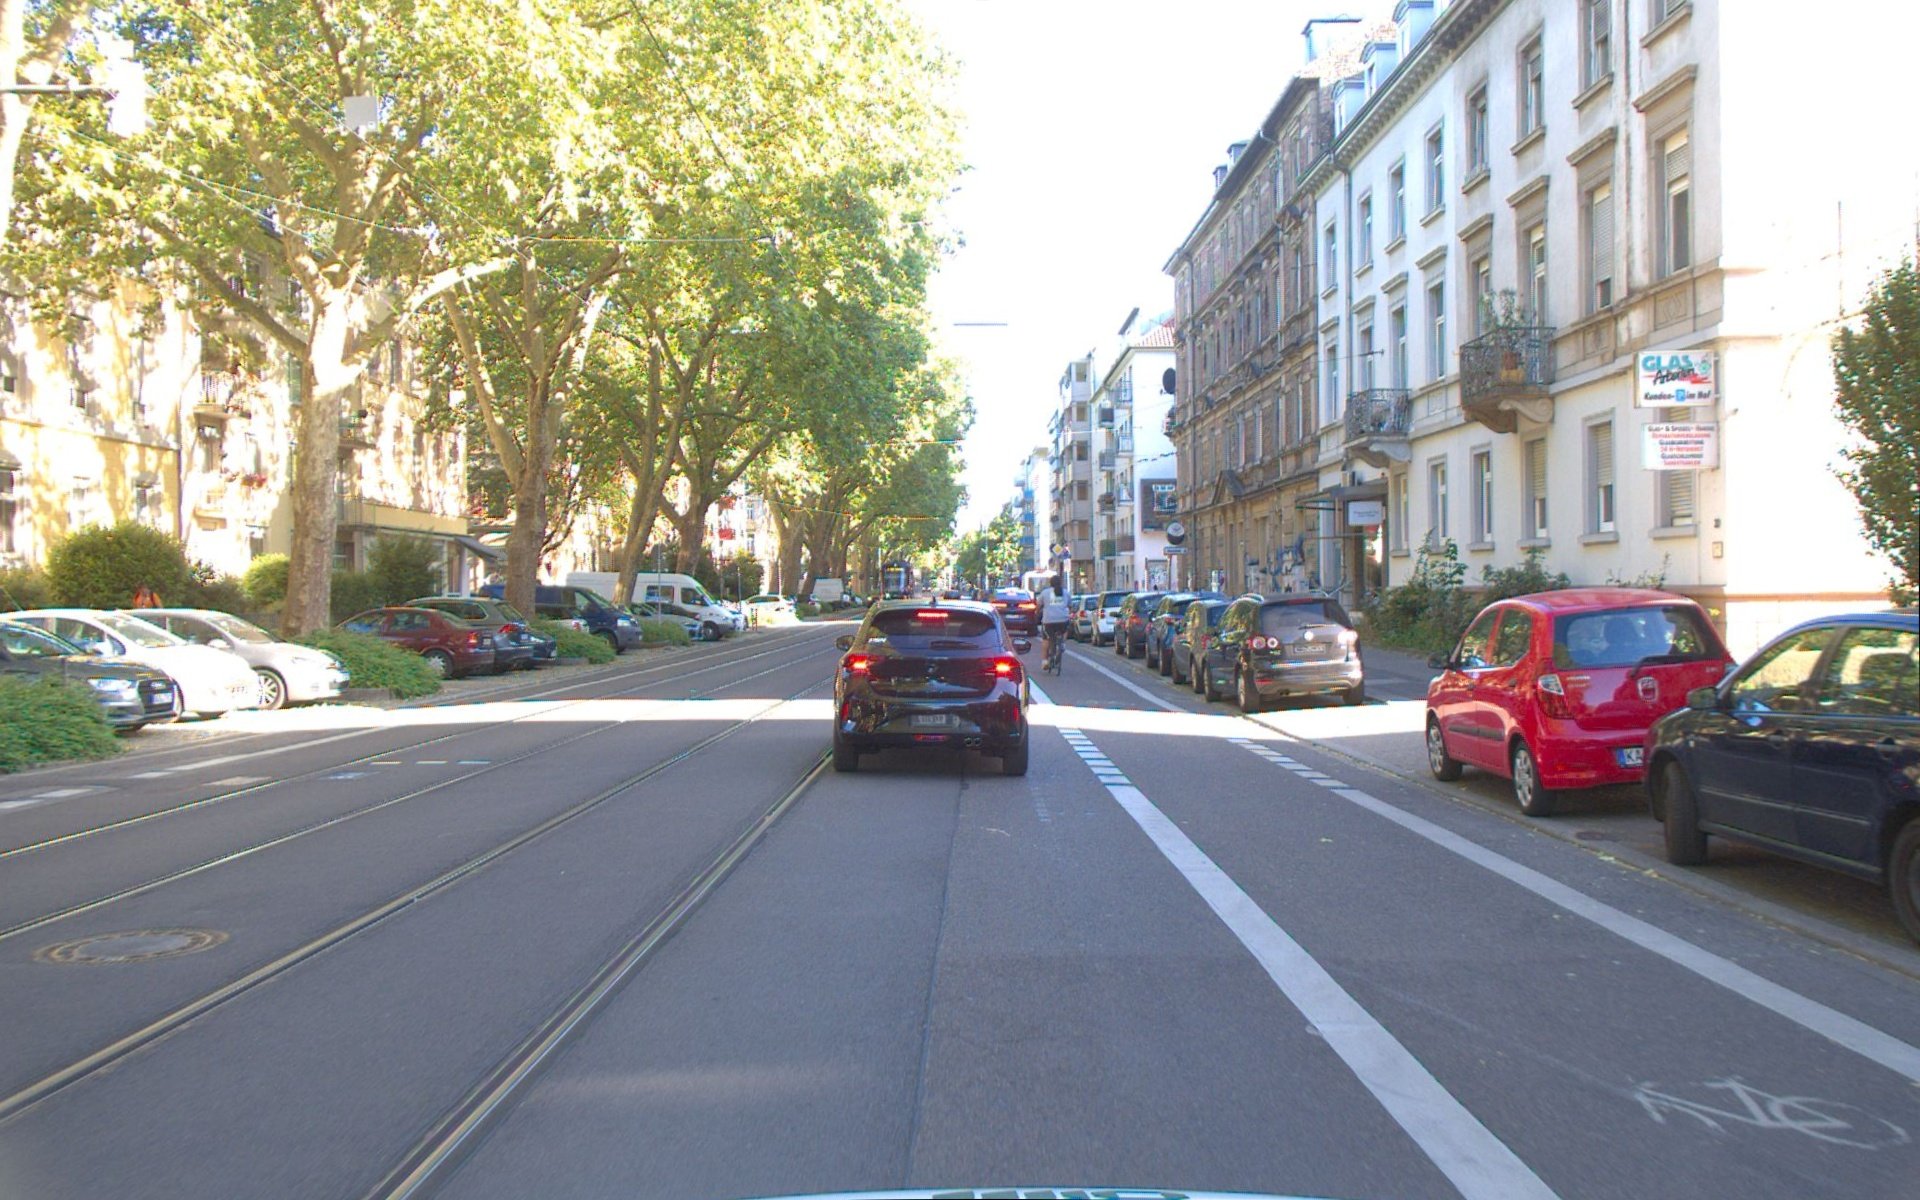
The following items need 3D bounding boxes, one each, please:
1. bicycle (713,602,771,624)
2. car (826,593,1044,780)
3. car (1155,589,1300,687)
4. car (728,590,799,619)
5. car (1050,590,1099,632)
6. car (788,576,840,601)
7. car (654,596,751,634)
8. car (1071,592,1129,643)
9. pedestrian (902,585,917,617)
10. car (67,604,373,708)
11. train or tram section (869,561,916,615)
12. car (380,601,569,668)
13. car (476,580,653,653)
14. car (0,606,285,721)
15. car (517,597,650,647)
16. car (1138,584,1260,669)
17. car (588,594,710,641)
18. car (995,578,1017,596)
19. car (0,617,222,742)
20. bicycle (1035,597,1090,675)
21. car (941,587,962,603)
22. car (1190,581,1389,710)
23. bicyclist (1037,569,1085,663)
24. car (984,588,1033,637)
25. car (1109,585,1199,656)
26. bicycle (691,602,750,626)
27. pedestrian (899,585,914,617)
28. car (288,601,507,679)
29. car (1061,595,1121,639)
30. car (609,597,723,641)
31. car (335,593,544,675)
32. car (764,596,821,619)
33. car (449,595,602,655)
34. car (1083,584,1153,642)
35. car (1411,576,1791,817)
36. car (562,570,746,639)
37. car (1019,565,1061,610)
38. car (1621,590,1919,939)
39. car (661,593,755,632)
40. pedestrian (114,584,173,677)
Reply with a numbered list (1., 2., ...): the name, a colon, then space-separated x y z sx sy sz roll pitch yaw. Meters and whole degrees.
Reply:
1. bicycle: -11.518 0.684 87.535 2.880 1.190 0.991 0 0 16
2. car: -0.215 0.688 15.091 1.757 1.466 3.531 0 1 -1
3. car: 4.576 0.614 28.773 1.762 1.481 3.767 -4 0 -1
4. car: -11.147 0.258 93.955 3.842 1.524 1.676 1 0 -3
5. car: 4.428 0.408 64.360 1.627 1.444 3.933 -4 0 1
6. car: -10.955 -0.840 124.387 3.842 1.821 1.676 1 0 -3
7. car: -10.815 0.620 69.624 3.842 1.524 1.676 1 0 -3
8. car: 4.489 0.544 53.341 1.669 1.481 3.698 -4 0 3
9. pedestrian: -2.508 0.045 81.960 0.664 1.594 0.769 0 0 4
10. car: -11.212 0.829 25.255 3.839 1.488 1.805 -1 0 0
11. train or tram section: -4.941 -0.887 123.220 2.678 3.746 12.717 -1 0 1
12. car: -11.241 0.786 38.466 3.841 1.446 1.818 1 0 -2
13. car: -11.400 0.471 47.890 4.579 1.957 1.980 1 0 1
14. car: -11.436 0.827 22.402 3.841 1.478 1.800 0 0 -1
15. car: -11.494 0.662 50.593 3.658 1.455 1.637 1 0 -1
16. car: 4.749 0.504 33.368 1.841 1.481 4.026 -4 0 1
17. car: -10.749 0.604 57.305 3.839 1.524 1.677 1 0 1
18. car: 3.894 -1.118 141.522 1.773 1.361 3.933 -4 0 1
19. car: -11.210 0.907 19.854 3.839 1.355 1.847 1 0 0
20. bicycle: 1.956 0.666 31.909 0.843 1.431 2.523 0 0 -1
21. car: -0.744 -0.463 144.975 1.772 1.361 3.933 0 0 1
22. car: 4.714 0.617 24.231 1.843 1.613 3.930 -4 0 -3
23. bicyclist: 1.950 0.300 31.971 0.831 1.770 1.161 0 0 -2
24. car: 1.797 0.440 61.924 1.772 1.772 3.933 -1 0 1
25. car: 4.608 0.470 39.755 1.676 1.509 3.764 -4 0 1
26. bicycle: -12.345 0.725 85.393 2.880 1.190 0.991 0 0 16
27. pedestrian: -2.625 0.046 81.144 0.664 1.594 0.769 0 0 4
28. car: -11.437 0.802 33.813 3.839 1.467 1.749 1 0 0
29. car: 4.528 0.556 57.644 1.773 1.361 3.933 -4 0 1
30. car: -10.729 0.700 60.580 3.840 1.524 1.677 1 0 -1
31. car: -11.265 0.716 35.974 3.913 1.655 1.879 1 0 -1
32. car: -11.665 0.516 115.281 3.842 1.524 1.676 1 -1 -3
33. car: -11.776 0.666 44.960 3.658 1.524 1.746 1 0 -1
34. car: 4.581 0.367 48.289 1.536 1.543 3.039 -4 0 -2
35. car: 4.790 0.645 12.895 1.601 1.573 3.576 -1 0 1
36. car: -11.587 0.176 62.988 6.492 2.451 2.458 1 0 0
37. car: 4.377 -0.665 90.937 2.033 2.257 4.934 -4 0 1
38. car: 4.945 0.705 8.371 1.617 1.481 3.868 -2 0 0
39. car: -10.955 0.557 72.088 3.842 1.605 1.676 1 0 -3
40. pedestrian: -16.852 0.617 34.159 0.848 1.882 0.836 0 0 -8
